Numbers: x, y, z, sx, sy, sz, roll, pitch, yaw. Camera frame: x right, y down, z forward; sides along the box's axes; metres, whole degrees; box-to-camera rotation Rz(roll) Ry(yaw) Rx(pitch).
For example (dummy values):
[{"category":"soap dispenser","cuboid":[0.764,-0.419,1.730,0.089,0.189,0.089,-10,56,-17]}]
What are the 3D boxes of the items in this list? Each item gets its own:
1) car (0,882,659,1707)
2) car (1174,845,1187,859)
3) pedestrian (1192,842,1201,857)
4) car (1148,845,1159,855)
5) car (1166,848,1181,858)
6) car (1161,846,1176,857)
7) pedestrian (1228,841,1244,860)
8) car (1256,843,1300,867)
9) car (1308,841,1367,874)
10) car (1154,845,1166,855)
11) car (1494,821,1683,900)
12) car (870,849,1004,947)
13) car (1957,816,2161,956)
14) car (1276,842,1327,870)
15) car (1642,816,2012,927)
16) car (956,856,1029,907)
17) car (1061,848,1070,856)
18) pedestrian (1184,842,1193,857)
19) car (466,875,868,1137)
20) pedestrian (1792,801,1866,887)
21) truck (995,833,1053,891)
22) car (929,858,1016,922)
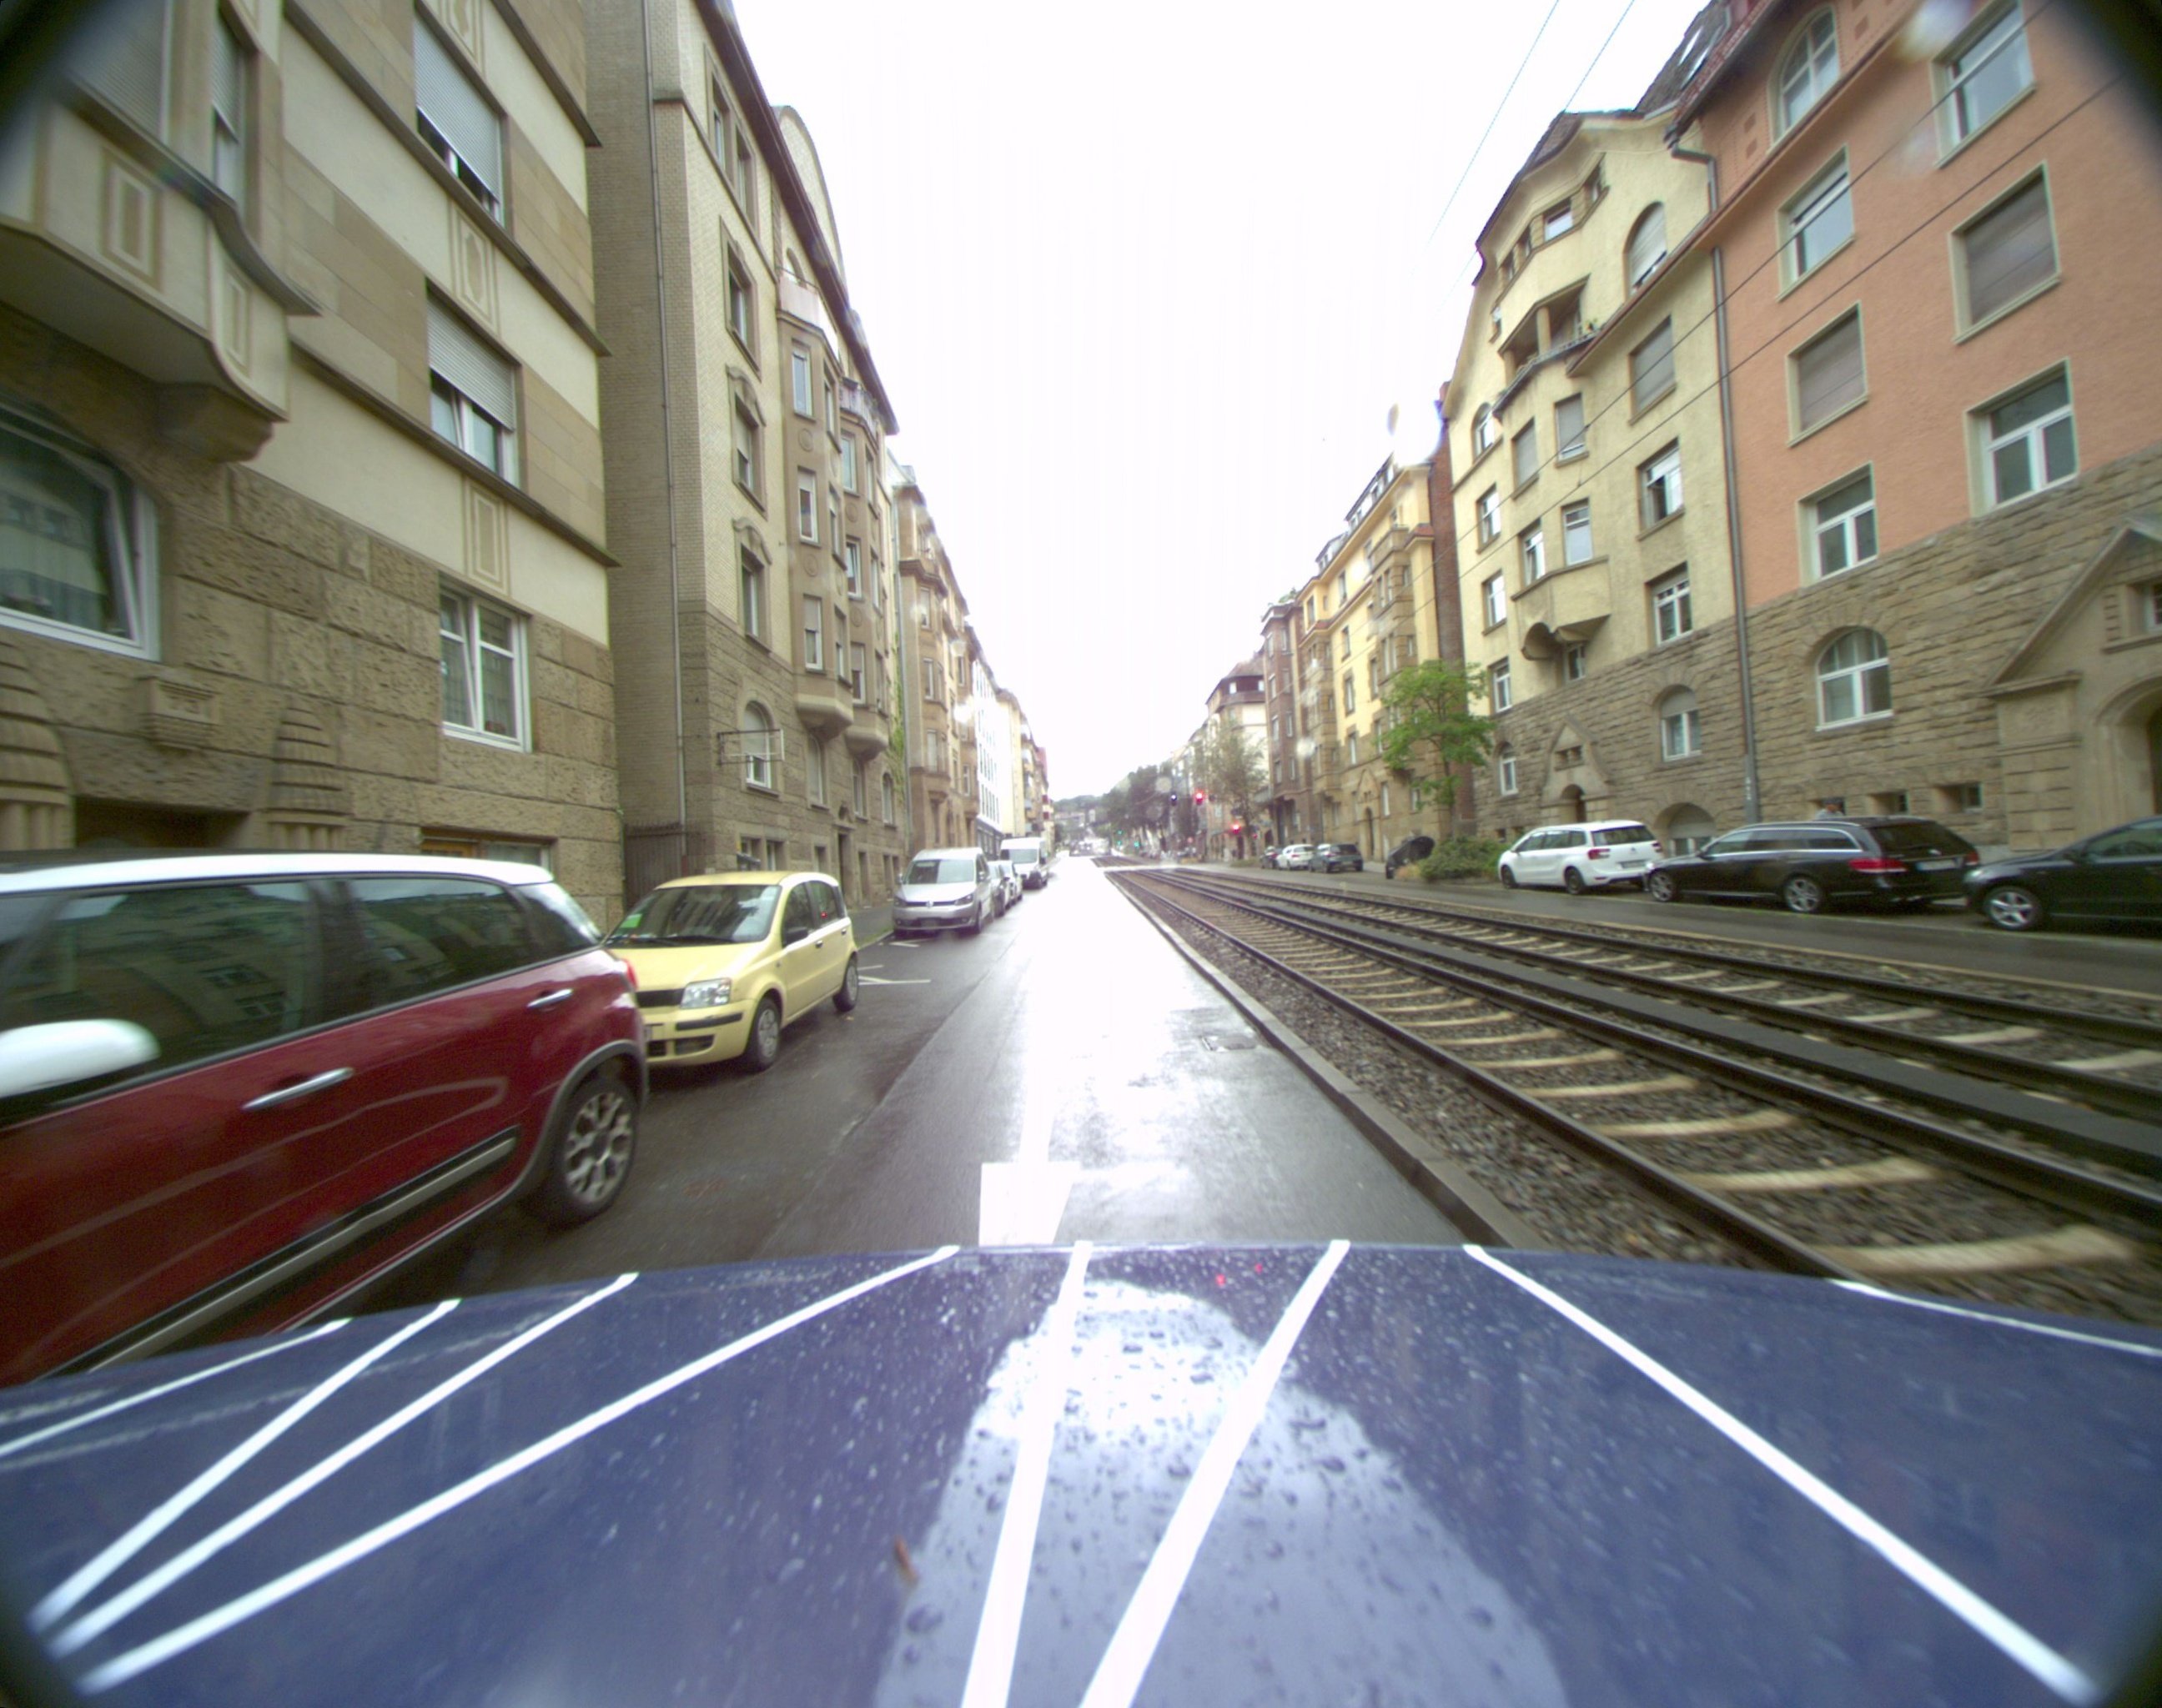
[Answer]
[{"category":"car","cuboid":[-3.048,0.983,1.809,1.807,1.590,3.999,-3,0,-1]},{"category":"car","cuboid":[12.750,-0.263,97.246,1.583,1.669,3.790,-3,2,7]},{"category":"pedestrian","cuboid":[15.909,-0.641,104.620,1.056,1.946,1.163,-3,1,2]},{"category":"car","cuboid":[12.547,-0.671,131.405,1.632,1.537,3.801,-3,0,1]},{"category":"car","cuboid":[12.659,-0.119,104.084,1.583,1.303,3.845,-3,0,1]},{"category":"car","cuboid":[12.963,-0.310,113.066,1.771,1.507,3.845,-3,0,1]},{"category":"pedestrian","cuboid":[16.418,-0.372,80.622,1.058,1.946,1.160,-4,1,-43]},{"category":"car","cuboid":[12.512,0.055,48.449,1.771,1.433,3.845,-3,0,1]},{"category":"car","cuboid":[12.524,0.121,37.315,1.678,1.433,3.845,-4,1,3]},{"category":"car","cuboid":[12.944,-0.670,124.536,1.657,1.589,3.775,-3,0,1]},{"category":"car","cuboid":[12.274,0.131,18.747,1.867,1.646,4.146,-3,0,1]},{"category":"car","cuboid":[-3.010,0.850,16.915,1.968,1.792,4.459,-3,0,1]},{"category":"car","cuboid":[12.520,0.314,8.167,1.935,1.488,3.642,-2,1,-2]},{"category":"car","cuboid":[12.497,0.109,43.354,1.771,1.433,4.031,-3,0,2]},{"category":"car","cuboid":[12.287,0.245,13.085,1.847,1.486,4.601,-3,0,1]},{"category":"car","cuboid":[-2.944,0.880,26.033,1.891,1.521,3.929,-3,0,1]},{"category":"car","cuboid":[-3.962,-0.442,192.122,1.998,1.838,4.000,-3,0,1]},{"category":"pedestrian","cuboid":[14.791,-0.602,104.627,1.056,1.946,1.163,-3,1,2]},{"category":"car","cuboid":[-3.199,1.045,6.757,1.580,1.520,3.578,-3,0,-1]},{"category":"pedestrian","cuboid":[14.805,-0.199,15.055,0.701,1.633,0.765,-2,1,1]},{"category":"truck","cuboid":[-2.703,0.338,37.661,2.235,2.521,6.143,-3,0,1]},{"category":"car","cuboid":[-2.960,0.939,21.532,1.999,1.521,3.999,-3,0,-3]}]
